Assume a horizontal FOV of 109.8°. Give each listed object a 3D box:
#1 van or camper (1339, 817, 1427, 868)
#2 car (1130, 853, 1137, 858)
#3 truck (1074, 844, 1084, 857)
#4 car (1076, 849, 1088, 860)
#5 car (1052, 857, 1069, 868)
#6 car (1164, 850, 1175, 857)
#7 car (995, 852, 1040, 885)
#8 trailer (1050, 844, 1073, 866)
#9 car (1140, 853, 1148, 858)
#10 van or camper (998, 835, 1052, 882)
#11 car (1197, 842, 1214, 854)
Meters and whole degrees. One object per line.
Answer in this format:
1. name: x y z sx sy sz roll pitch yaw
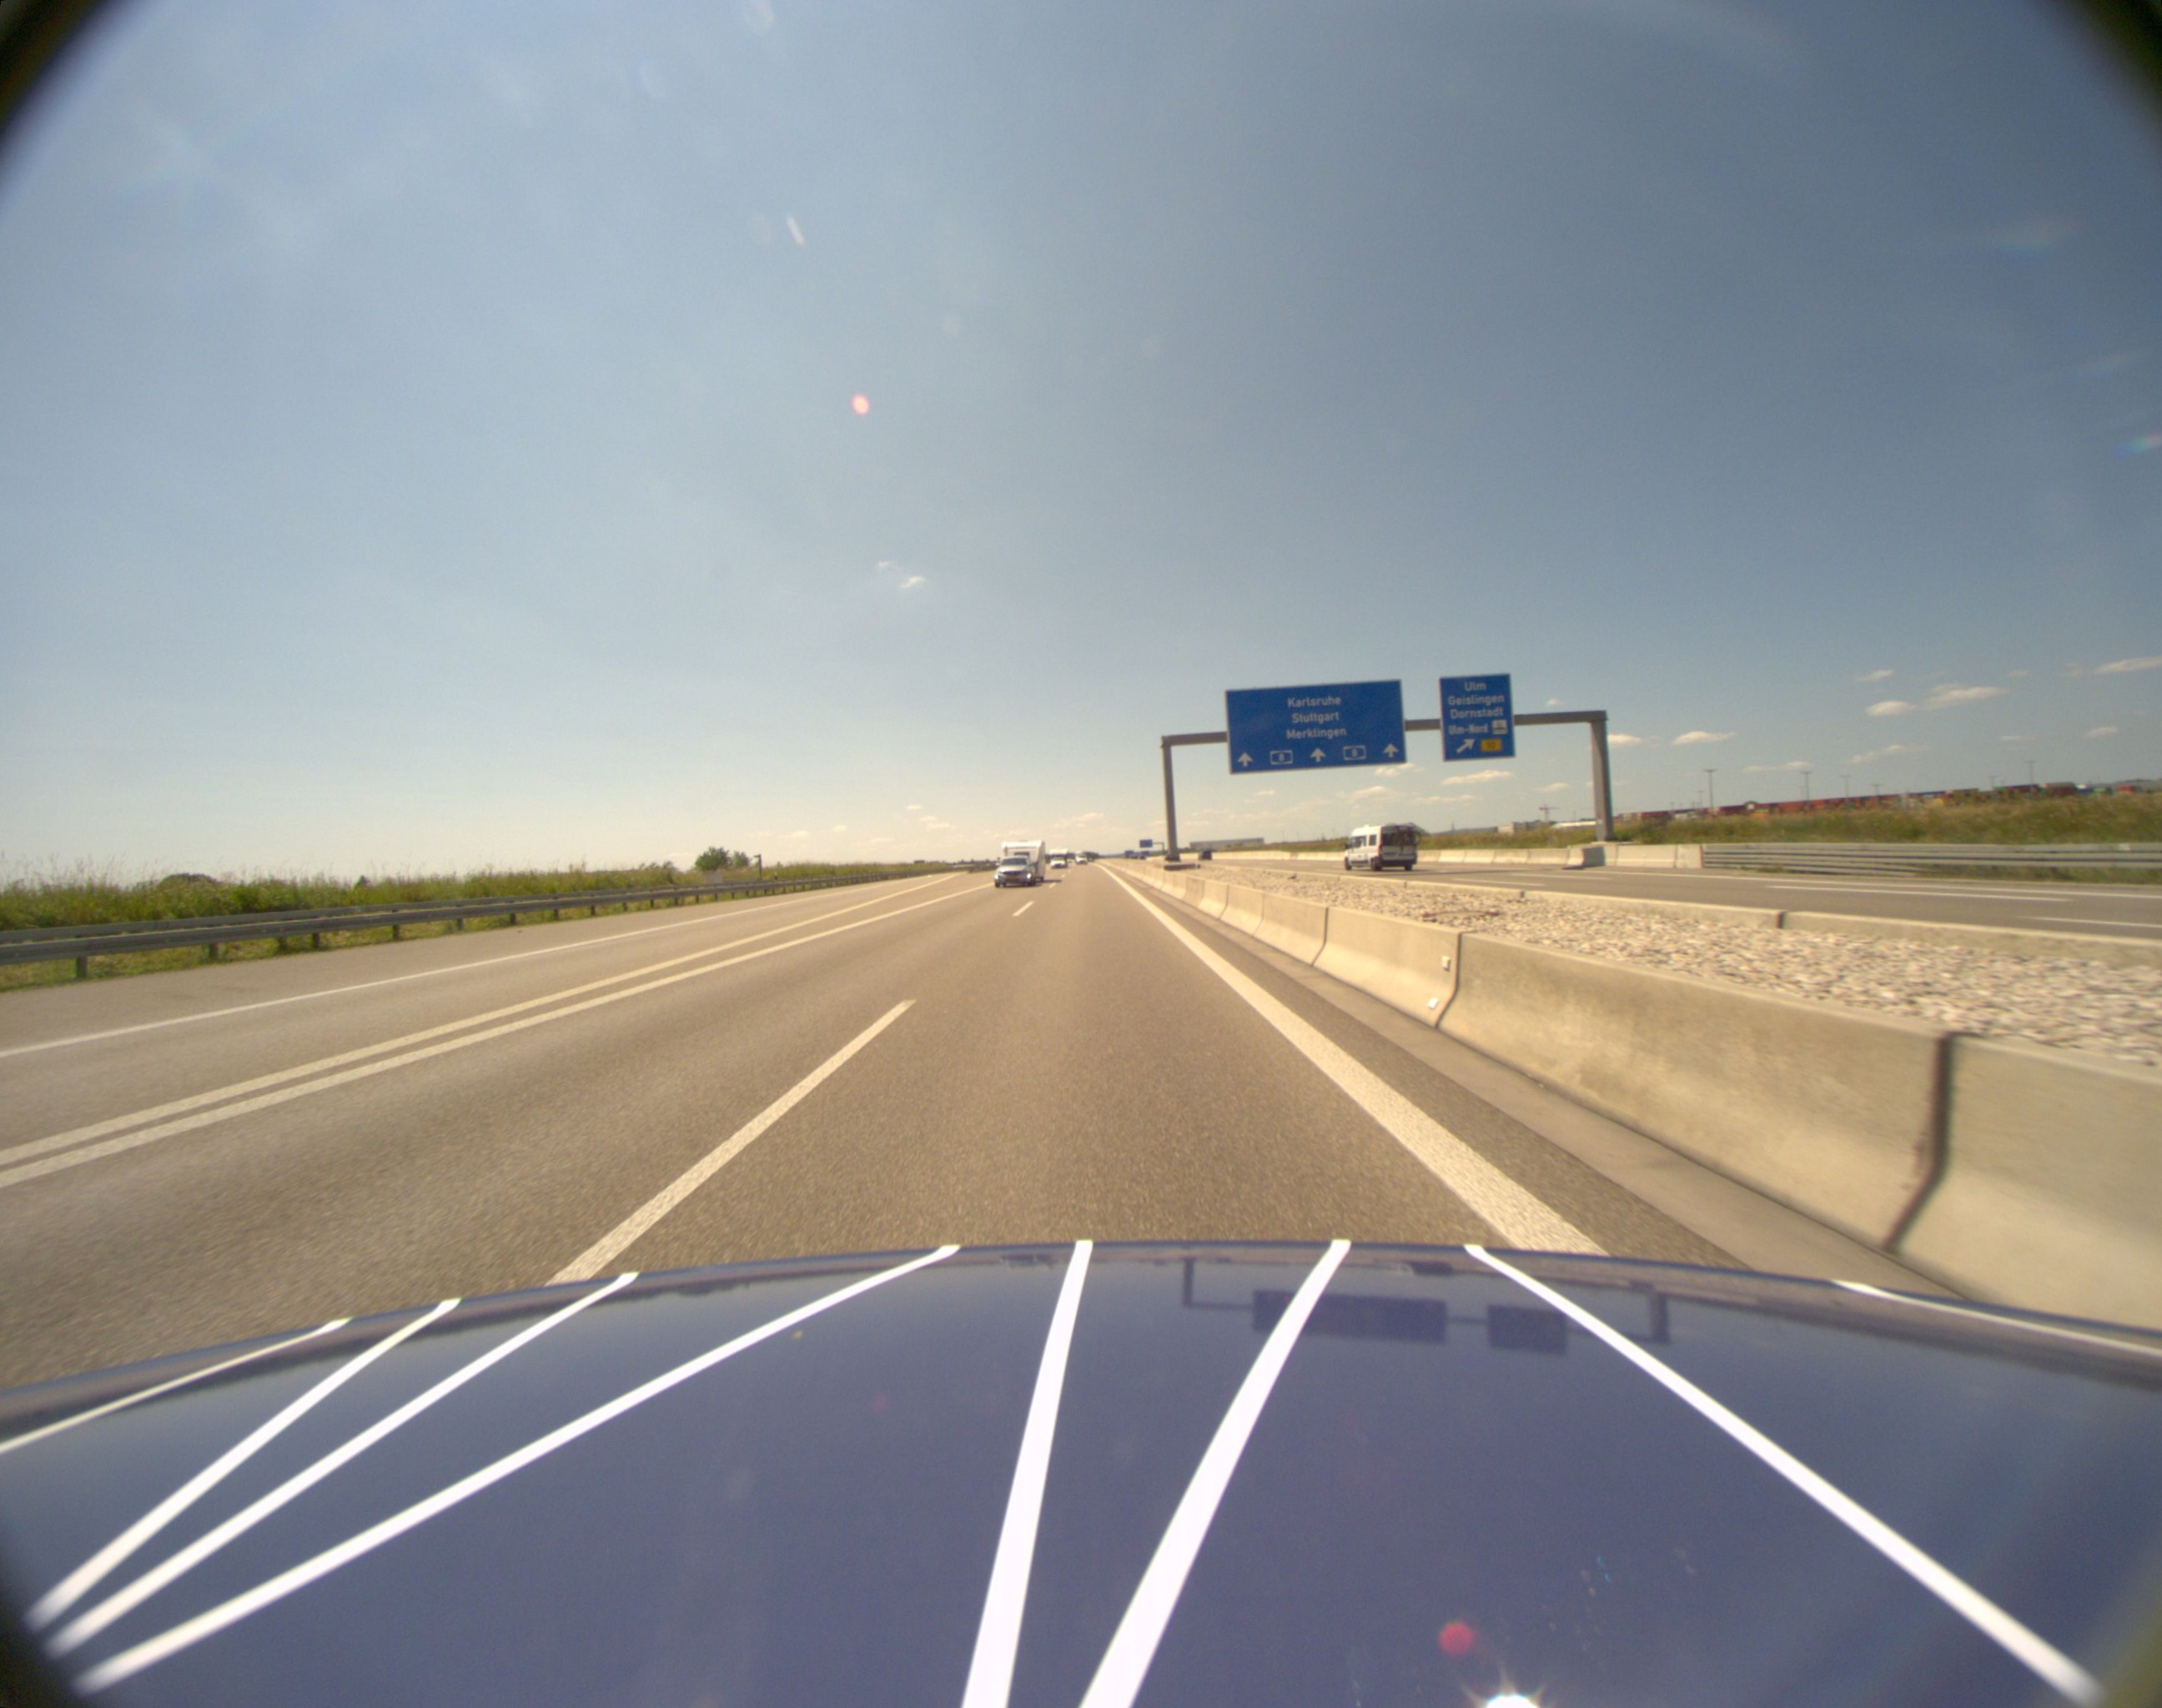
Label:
1. van or camper: 16.691 -0.612 42.466 2.325 2.543 6.315 -2 0 0
2. car: 14.708 0.351 212.133 1.848 1.374 4.752 -3 0 2
3. truck: -0.508 -0.803 177.398 2.168 2.797 6.489 -2 0 0
4. car: 0.164 0.060 139.469 1.998 2.002 4.000 -2 0 1
5. car: -2.629 1.094 97.867 1.872 1.351 3.673 -1 -1 2
6. car: 18.192 -0.145 156.648 1.895 1.321 3.986 -3 0 3
7. car: -3.330 0.752 40.689 1.885 1.613 4.904 -2 -1 1
8. trailer: -2.609 0.194 103.304 2.500 2.686 7.157 -2 -1 2
9. car: 19.080 0.427 229.884 1.998 1.371 4.364 -2 0 2
10. van or camper: -3.307 0.325 46.913 2.518 2.577 7.818 -2 -1 1
11. car: 20.590 -0.935 125.606 1.851 1.813 4.921 -3 0 0
